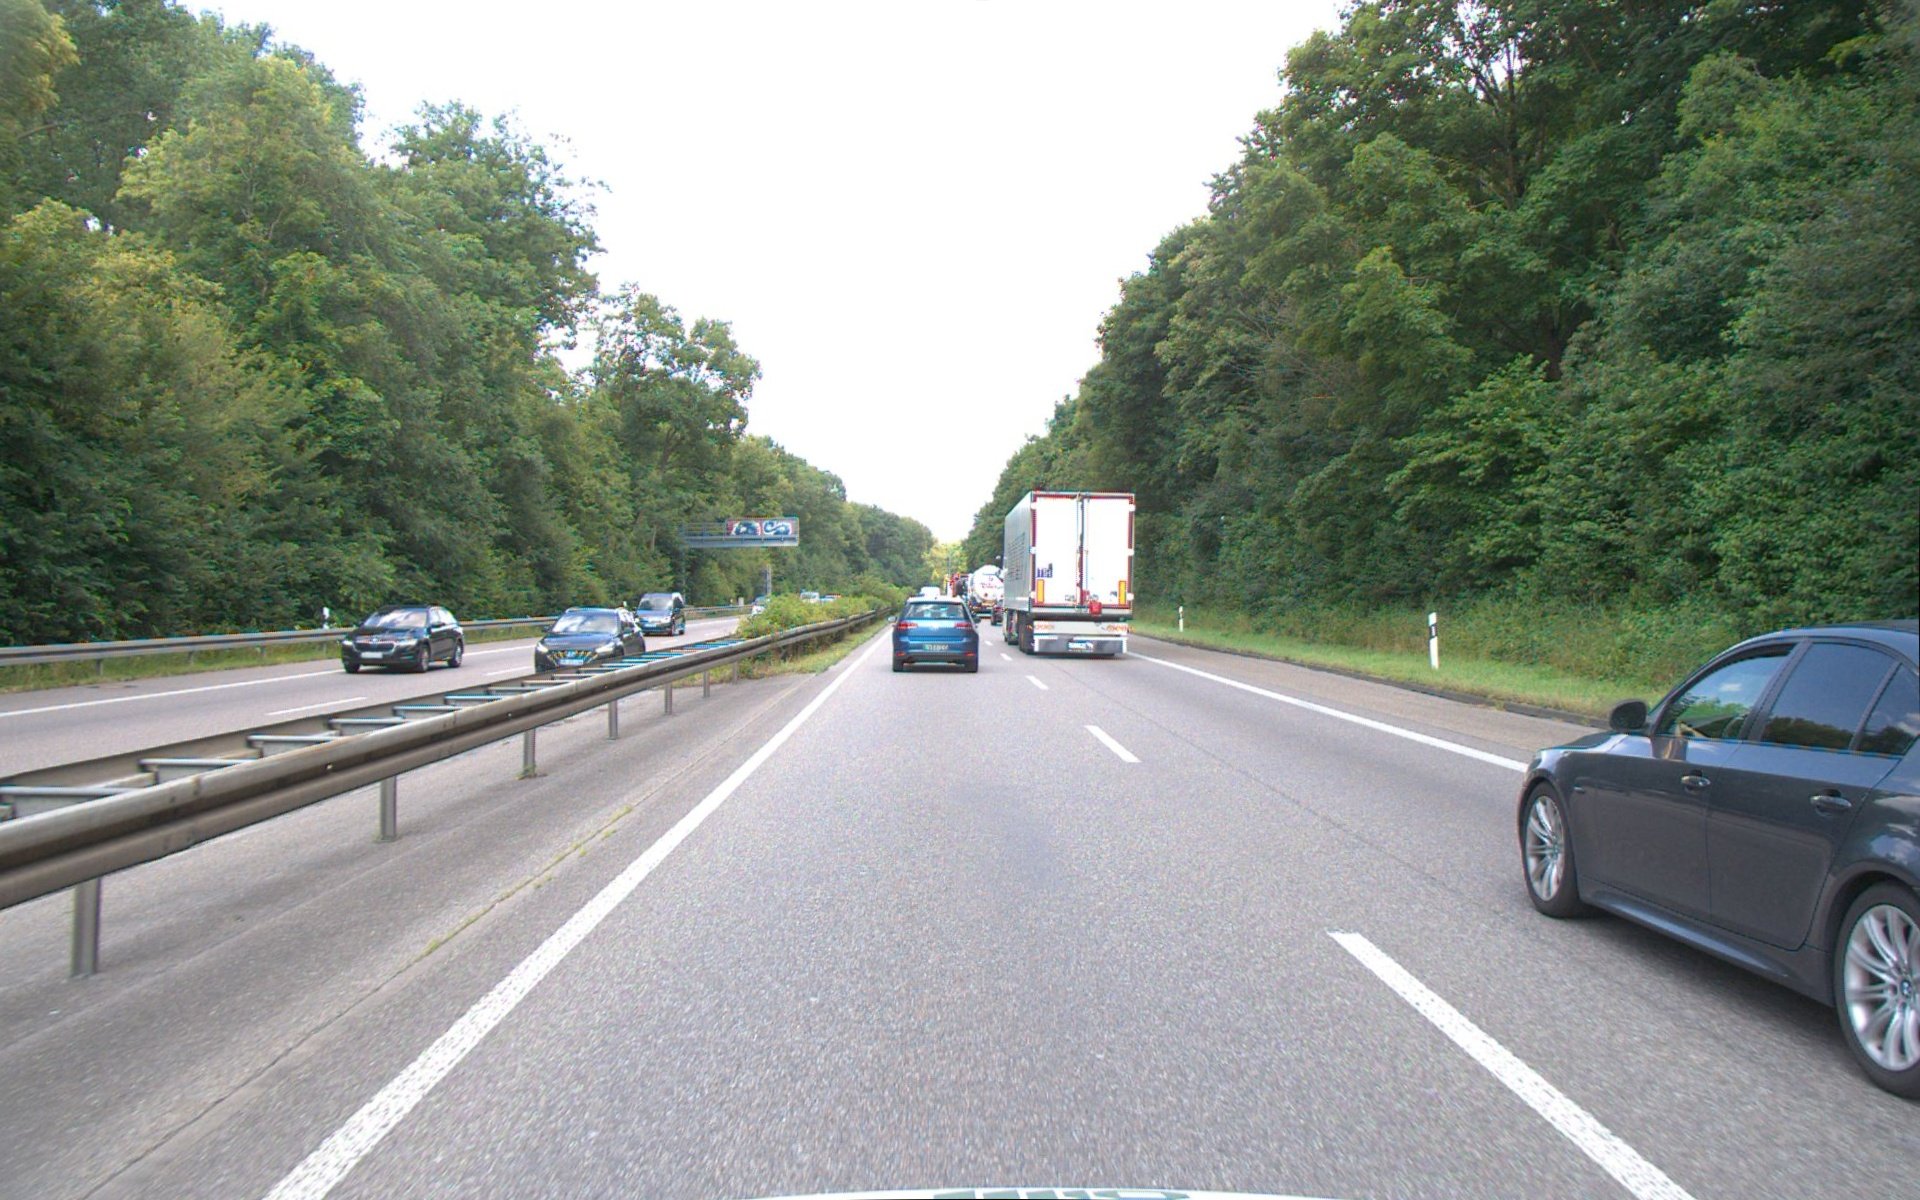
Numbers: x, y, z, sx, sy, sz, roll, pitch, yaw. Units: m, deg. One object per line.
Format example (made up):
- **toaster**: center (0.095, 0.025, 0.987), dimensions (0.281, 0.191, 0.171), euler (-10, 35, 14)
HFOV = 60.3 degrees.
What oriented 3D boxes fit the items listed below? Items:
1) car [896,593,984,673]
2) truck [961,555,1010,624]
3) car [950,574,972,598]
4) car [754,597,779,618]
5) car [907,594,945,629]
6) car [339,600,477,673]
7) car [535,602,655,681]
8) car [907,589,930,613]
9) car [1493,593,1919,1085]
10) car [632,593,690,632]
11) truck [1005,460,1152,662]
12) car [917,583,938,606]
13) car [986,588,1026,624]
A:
- **car**: center (-0.434, 0.627, 33.806), dimensions (1.670, 1.495, 3.999), euler (1, 0, -2)
- **truck**: center (1.668, -0.654, 114.202), dimensions (3.166, 4.463, 12.969), euler (0, 0, 0)
- **car**: center (0.063, -1.458, 170.046), dimensions (1.954, 2.368, 4.439), euler (-1, 0, -4)
- **car**: center (-14.014, 0.542, 119.813), dimensions (1.506, 1.421, 3.510), euler (-1, 0, -2)
- **car**: center (-1.496, 0.493, 73.953), dimensions (1.631, 1.526, 4.151), euler (0, 0, -1)
- **car**: center (-12.655, 0.795, 38.225), dimensions (1.646, 1.546, 4.857), euler (-1, 0, -2)
- **car**: center (-7.797, 0.849, 35.689), dimensions (1.745, 1.546, 4.265), euler (-1, 0, -2)
- **car**: center (-3.671, 0.061, 147.037), dimensions (1.953, 2.049, 3.999), euler (0, 0, -1)
- **car**: center (3.777, 0.738, 6.405), dimensions (1.738, 1.501, 4.879), euler (1, 0, -1)
- **car**: center (-12.758, 0.511, 70.766), dimensions (1.724, 1.621, 4.632), euler (-1, 0, -2)
- **truck**: center (2.987, -0.972, 45.120), dimensions (3.175, 4.798, 11.006), euler (-1, 0, 0)
- **car**: center (-3.370, -0.558, 169.978), dimensions (1.954, 2.294, 4.439), euler (-1, 0, -4)
- **car**: center (2.337, 0.289, 84.726), dimensions (1.850, 1.759, 3.999), euler (-1, 0, -1)
